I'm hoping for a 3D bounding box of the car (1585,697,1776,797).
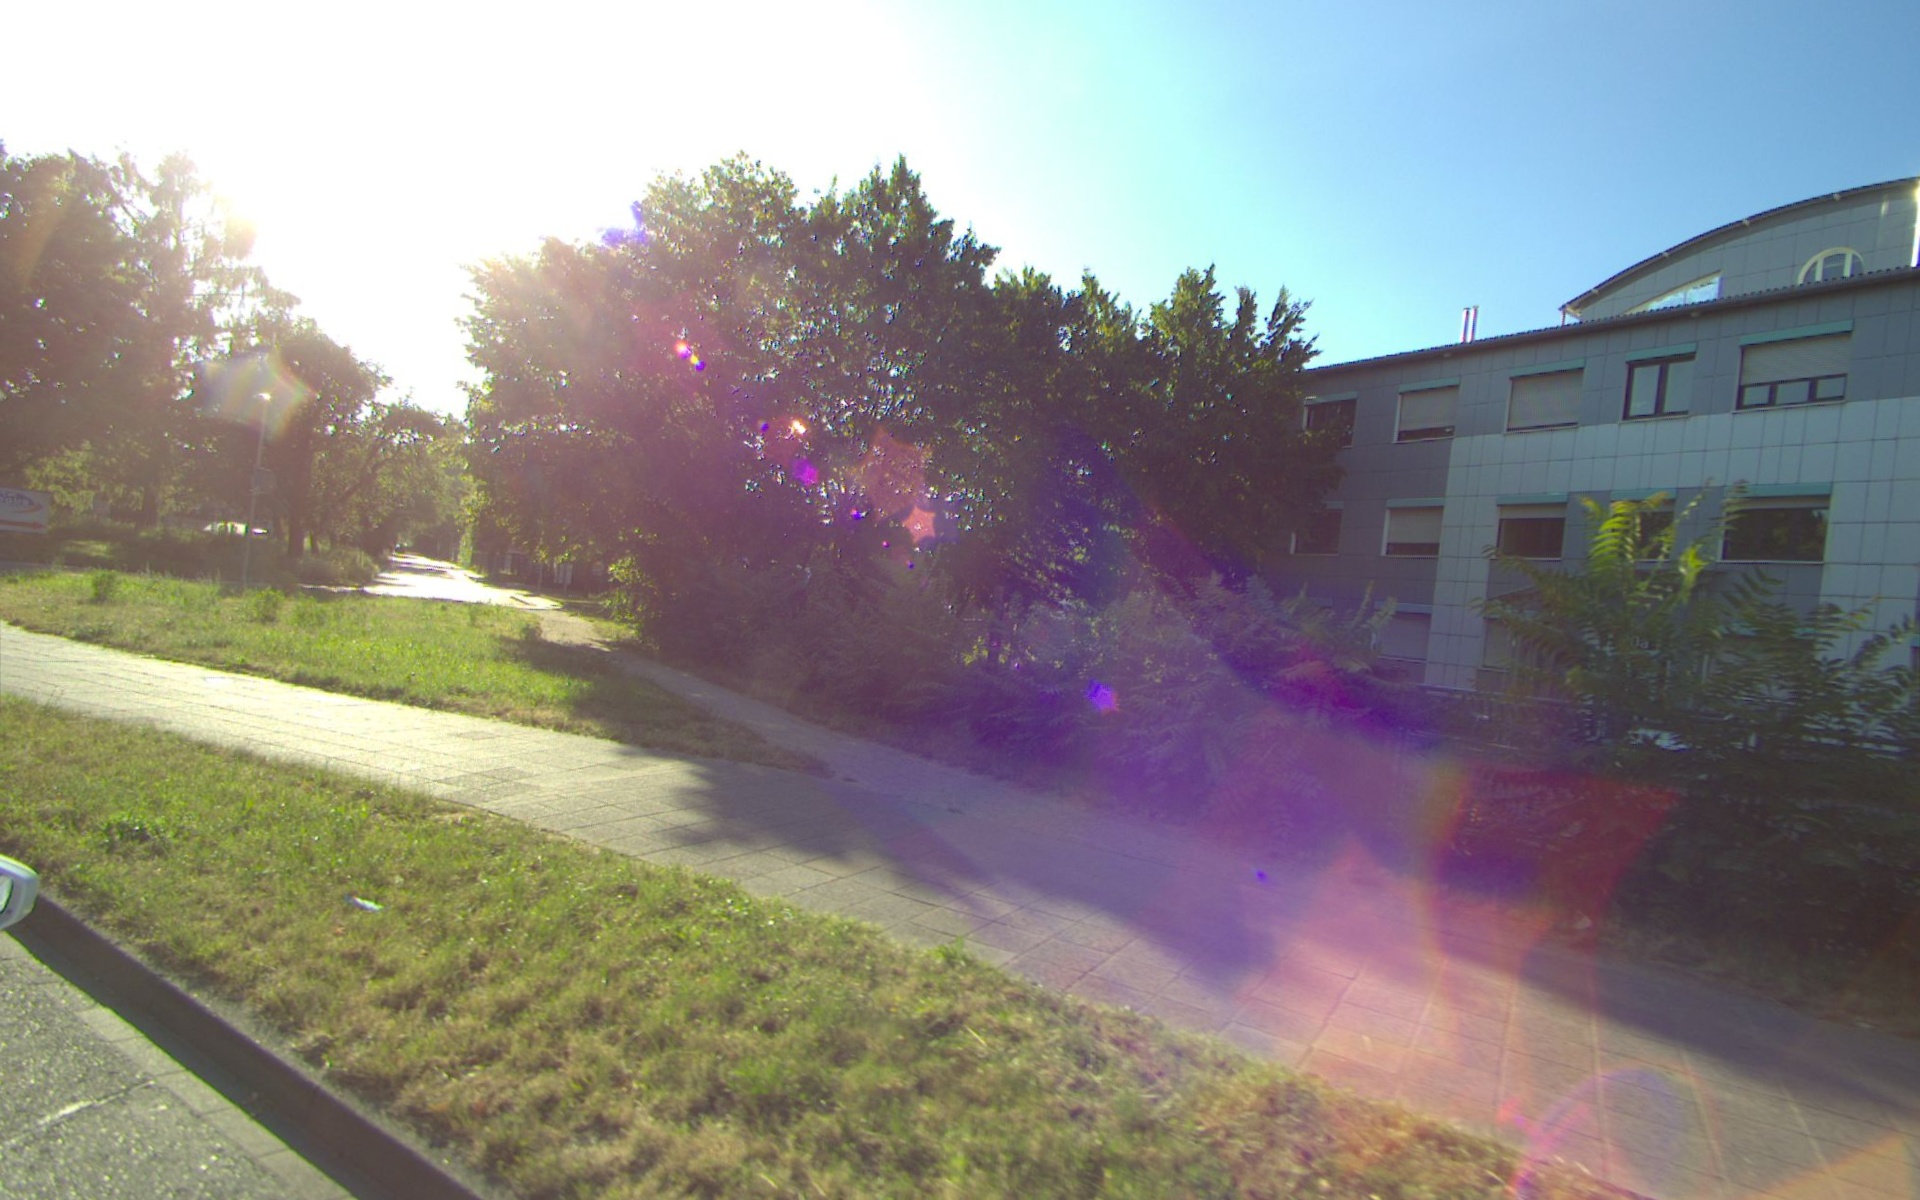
[{"bbox_3d":[14.456,2.913,20.136,3.963,1.593,1.891,6,-1,-36],"label":"car"}]

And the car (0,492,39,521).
[{"bbox_3d":[-68.183,-6.787,71.910,4.319,1.749,1.817,7,0,25],"label":"car"}]
